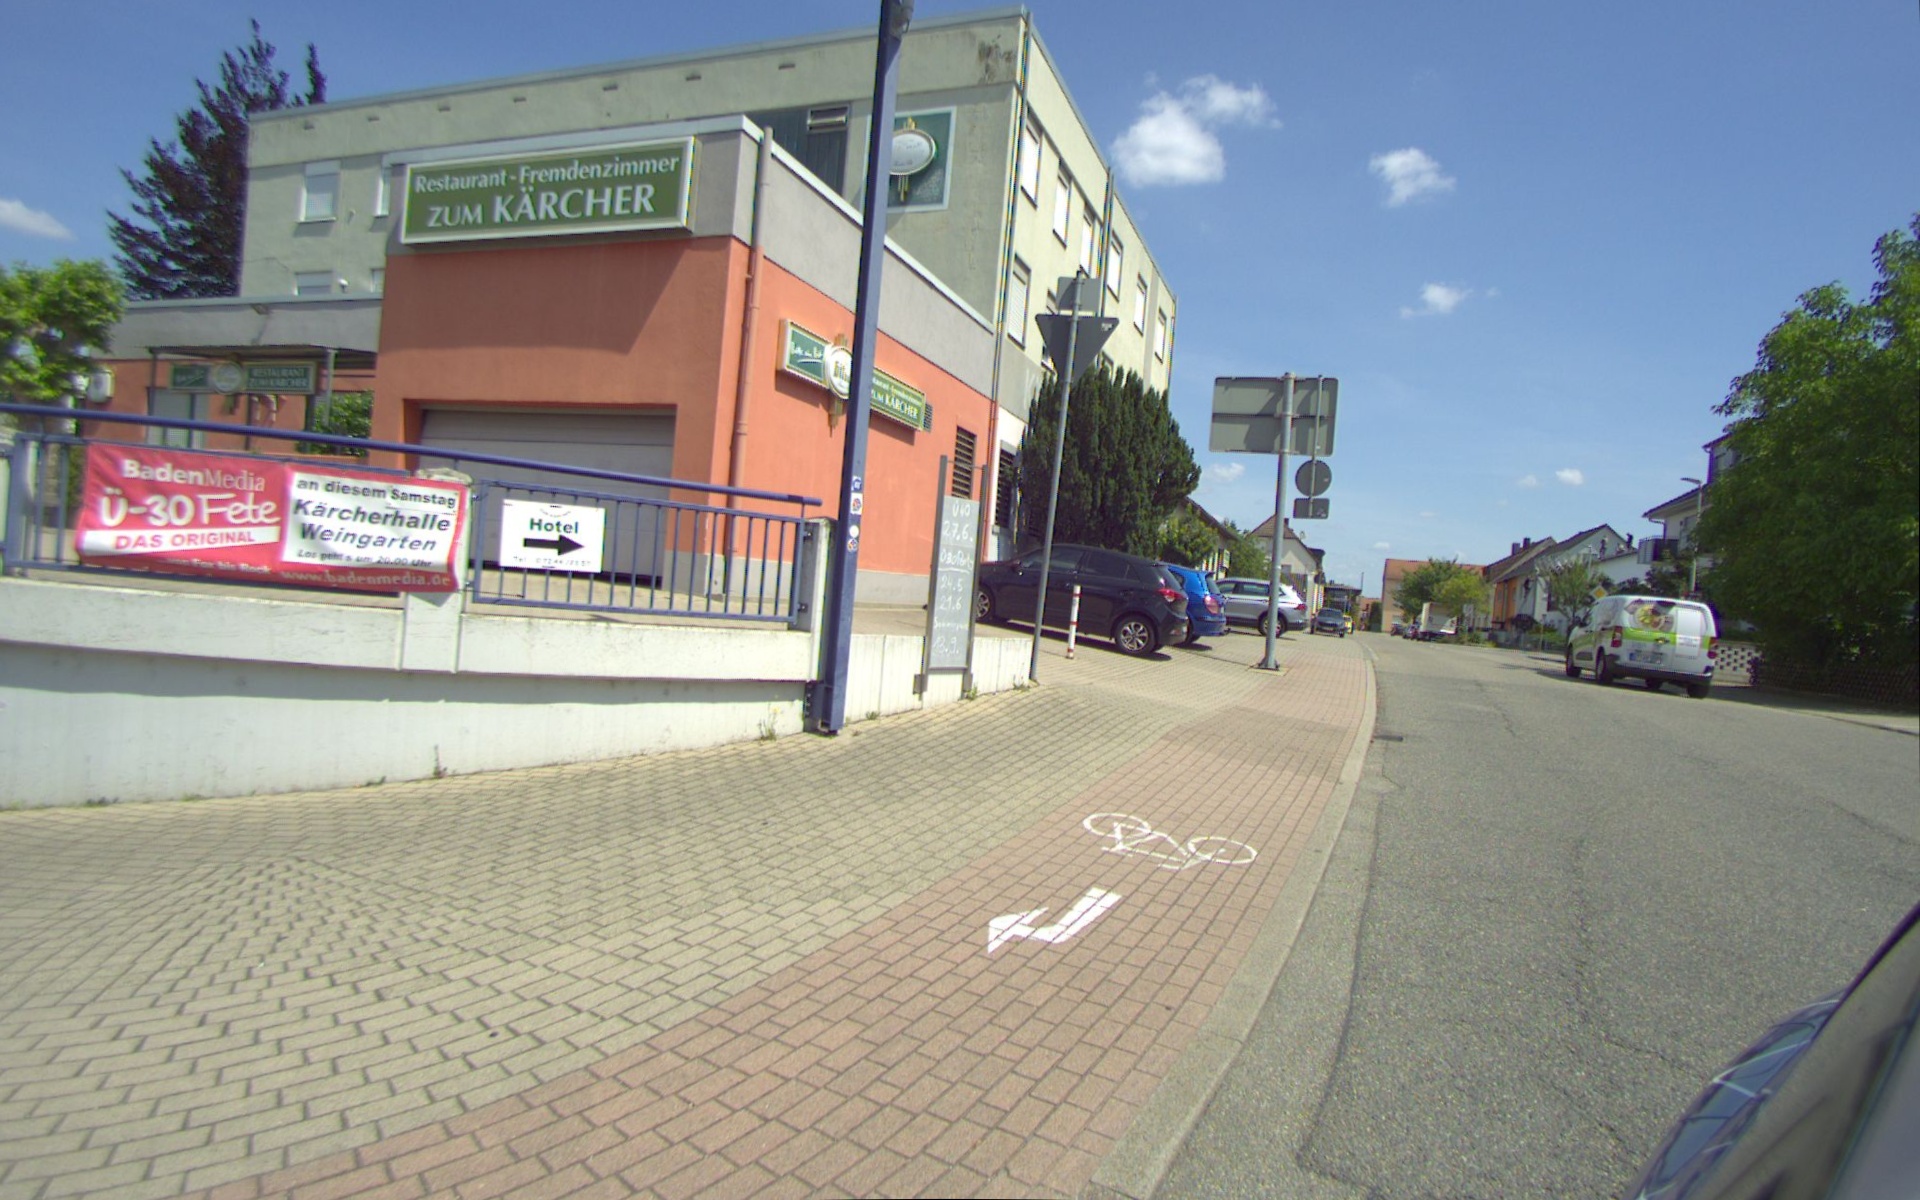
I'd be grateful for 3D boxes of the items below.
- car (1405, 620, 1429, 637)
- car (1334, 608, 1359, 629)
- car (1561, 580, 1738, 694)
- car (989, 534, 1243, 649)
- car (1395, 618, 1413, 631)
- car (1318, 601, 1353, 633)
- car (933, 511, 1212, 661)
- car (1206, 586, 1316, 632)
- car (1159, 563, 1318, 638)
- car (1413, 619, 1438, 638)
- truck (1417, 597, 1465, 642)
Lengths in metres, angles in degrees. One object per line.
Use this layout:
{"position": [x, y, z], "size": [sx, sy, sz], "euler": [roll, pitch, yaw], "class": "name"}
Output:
{"position": [46.344, 2.854, 102.703], "size": [1.702, 1.518, 4.186], "euler": [8, 1, 20], "class": "car"}
{"position": [31.281, 1.522, 81.879], "size": [1.703, 1.414, 4.184], "euler": [9, 2, 21], "class": "car"}
{"position": [13.967, 0.686, 20.822], "size": [1.797, 1.877, 4.528], "euler": [7, 2, 20], "class": "car"}
{"position": [2.916, -0.214, 18.921], "size": [4.289, 1.456, 1.768], "euler": [9, 5, 21], "class": "car"}
{"position": [57.352, 3.154, 130.837], "size": [1.702, 1.518, 4.186], "euler": [8, 1, 20], "class": "car"}
{"position": [20.184, 0.936, 54.512], "size": [1.613, 1.507, 4.112], "euler": [6, 1, 20], "class": "car"}
{"position": [1.783, -0.261, 15.881], "size": [3.866, 1.506, 1.798], "euler": [12, 4, 20], "class": "car"}
{"position": [13.548, 0.398, 45.562], "size": [4.492, 1.471, 1.903], "euler": [7, 1, 22], "class": "car"}
{"position": [8.538, -0.010, 30.986], "size": [4.415, 1.717, 1.910], "euler": [7, 1, 20], "class": "car"}
{"position": [44.418, 2.707, 96.642], "size": [1.702, 1.518, 4.186], "euler": [8, 1, 20], "class": "car"}
{"position": [39.733, 1.596, 83.801], "size": [2.417, 3.284, 6.992], "euler": [9, 2, 19], "class": "truck"}
